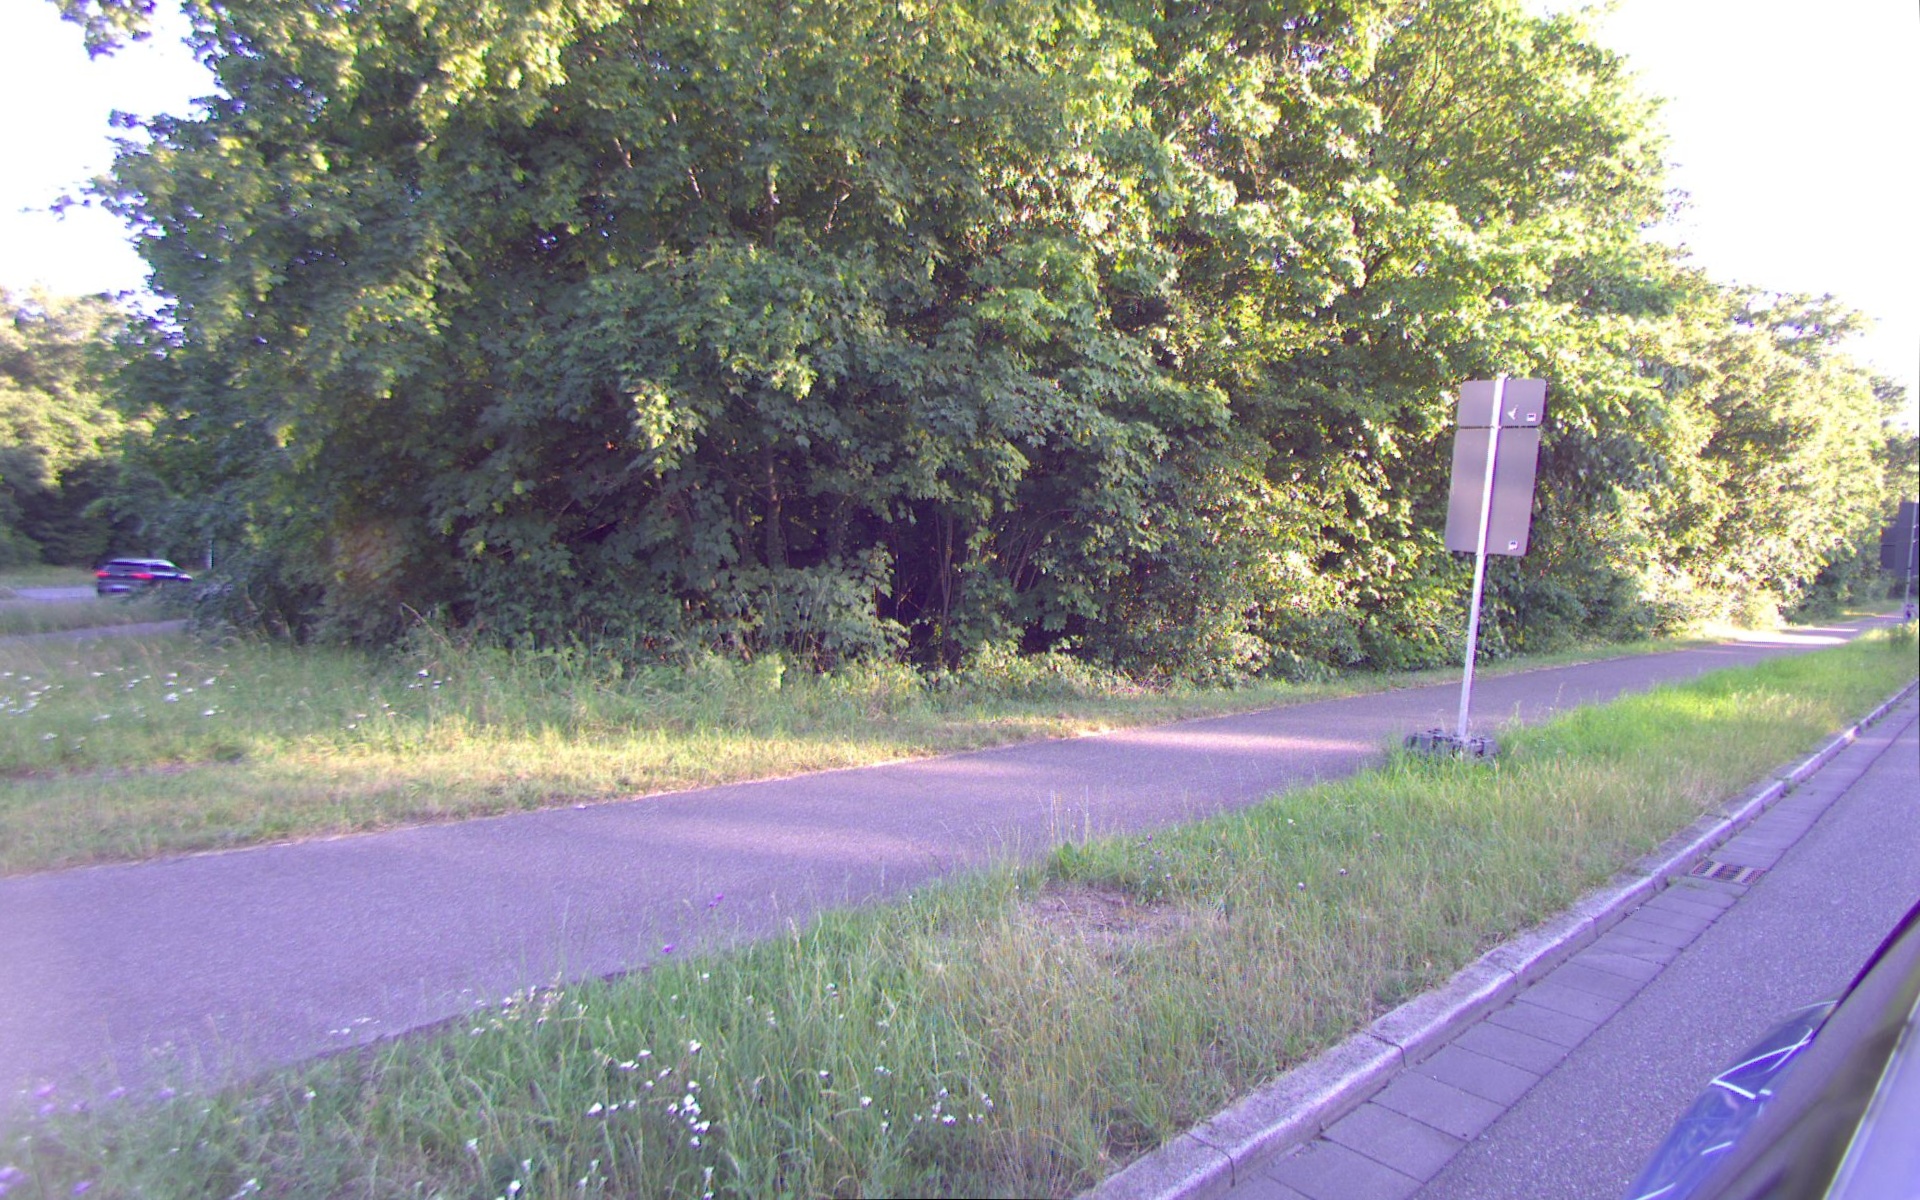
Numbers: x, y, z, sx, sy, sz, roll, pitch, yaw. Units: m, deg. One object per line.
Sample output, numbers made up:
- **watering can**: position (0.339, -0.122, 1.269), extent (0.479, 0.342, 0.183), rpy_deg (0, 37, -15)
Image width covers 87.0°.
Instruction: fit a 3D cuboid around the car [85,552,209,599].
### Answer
- **car**: position (-29.295, -0.900, 36.674), extent (1.958, 1.549, 4.689), rpy_deg (0, 1, -18)
